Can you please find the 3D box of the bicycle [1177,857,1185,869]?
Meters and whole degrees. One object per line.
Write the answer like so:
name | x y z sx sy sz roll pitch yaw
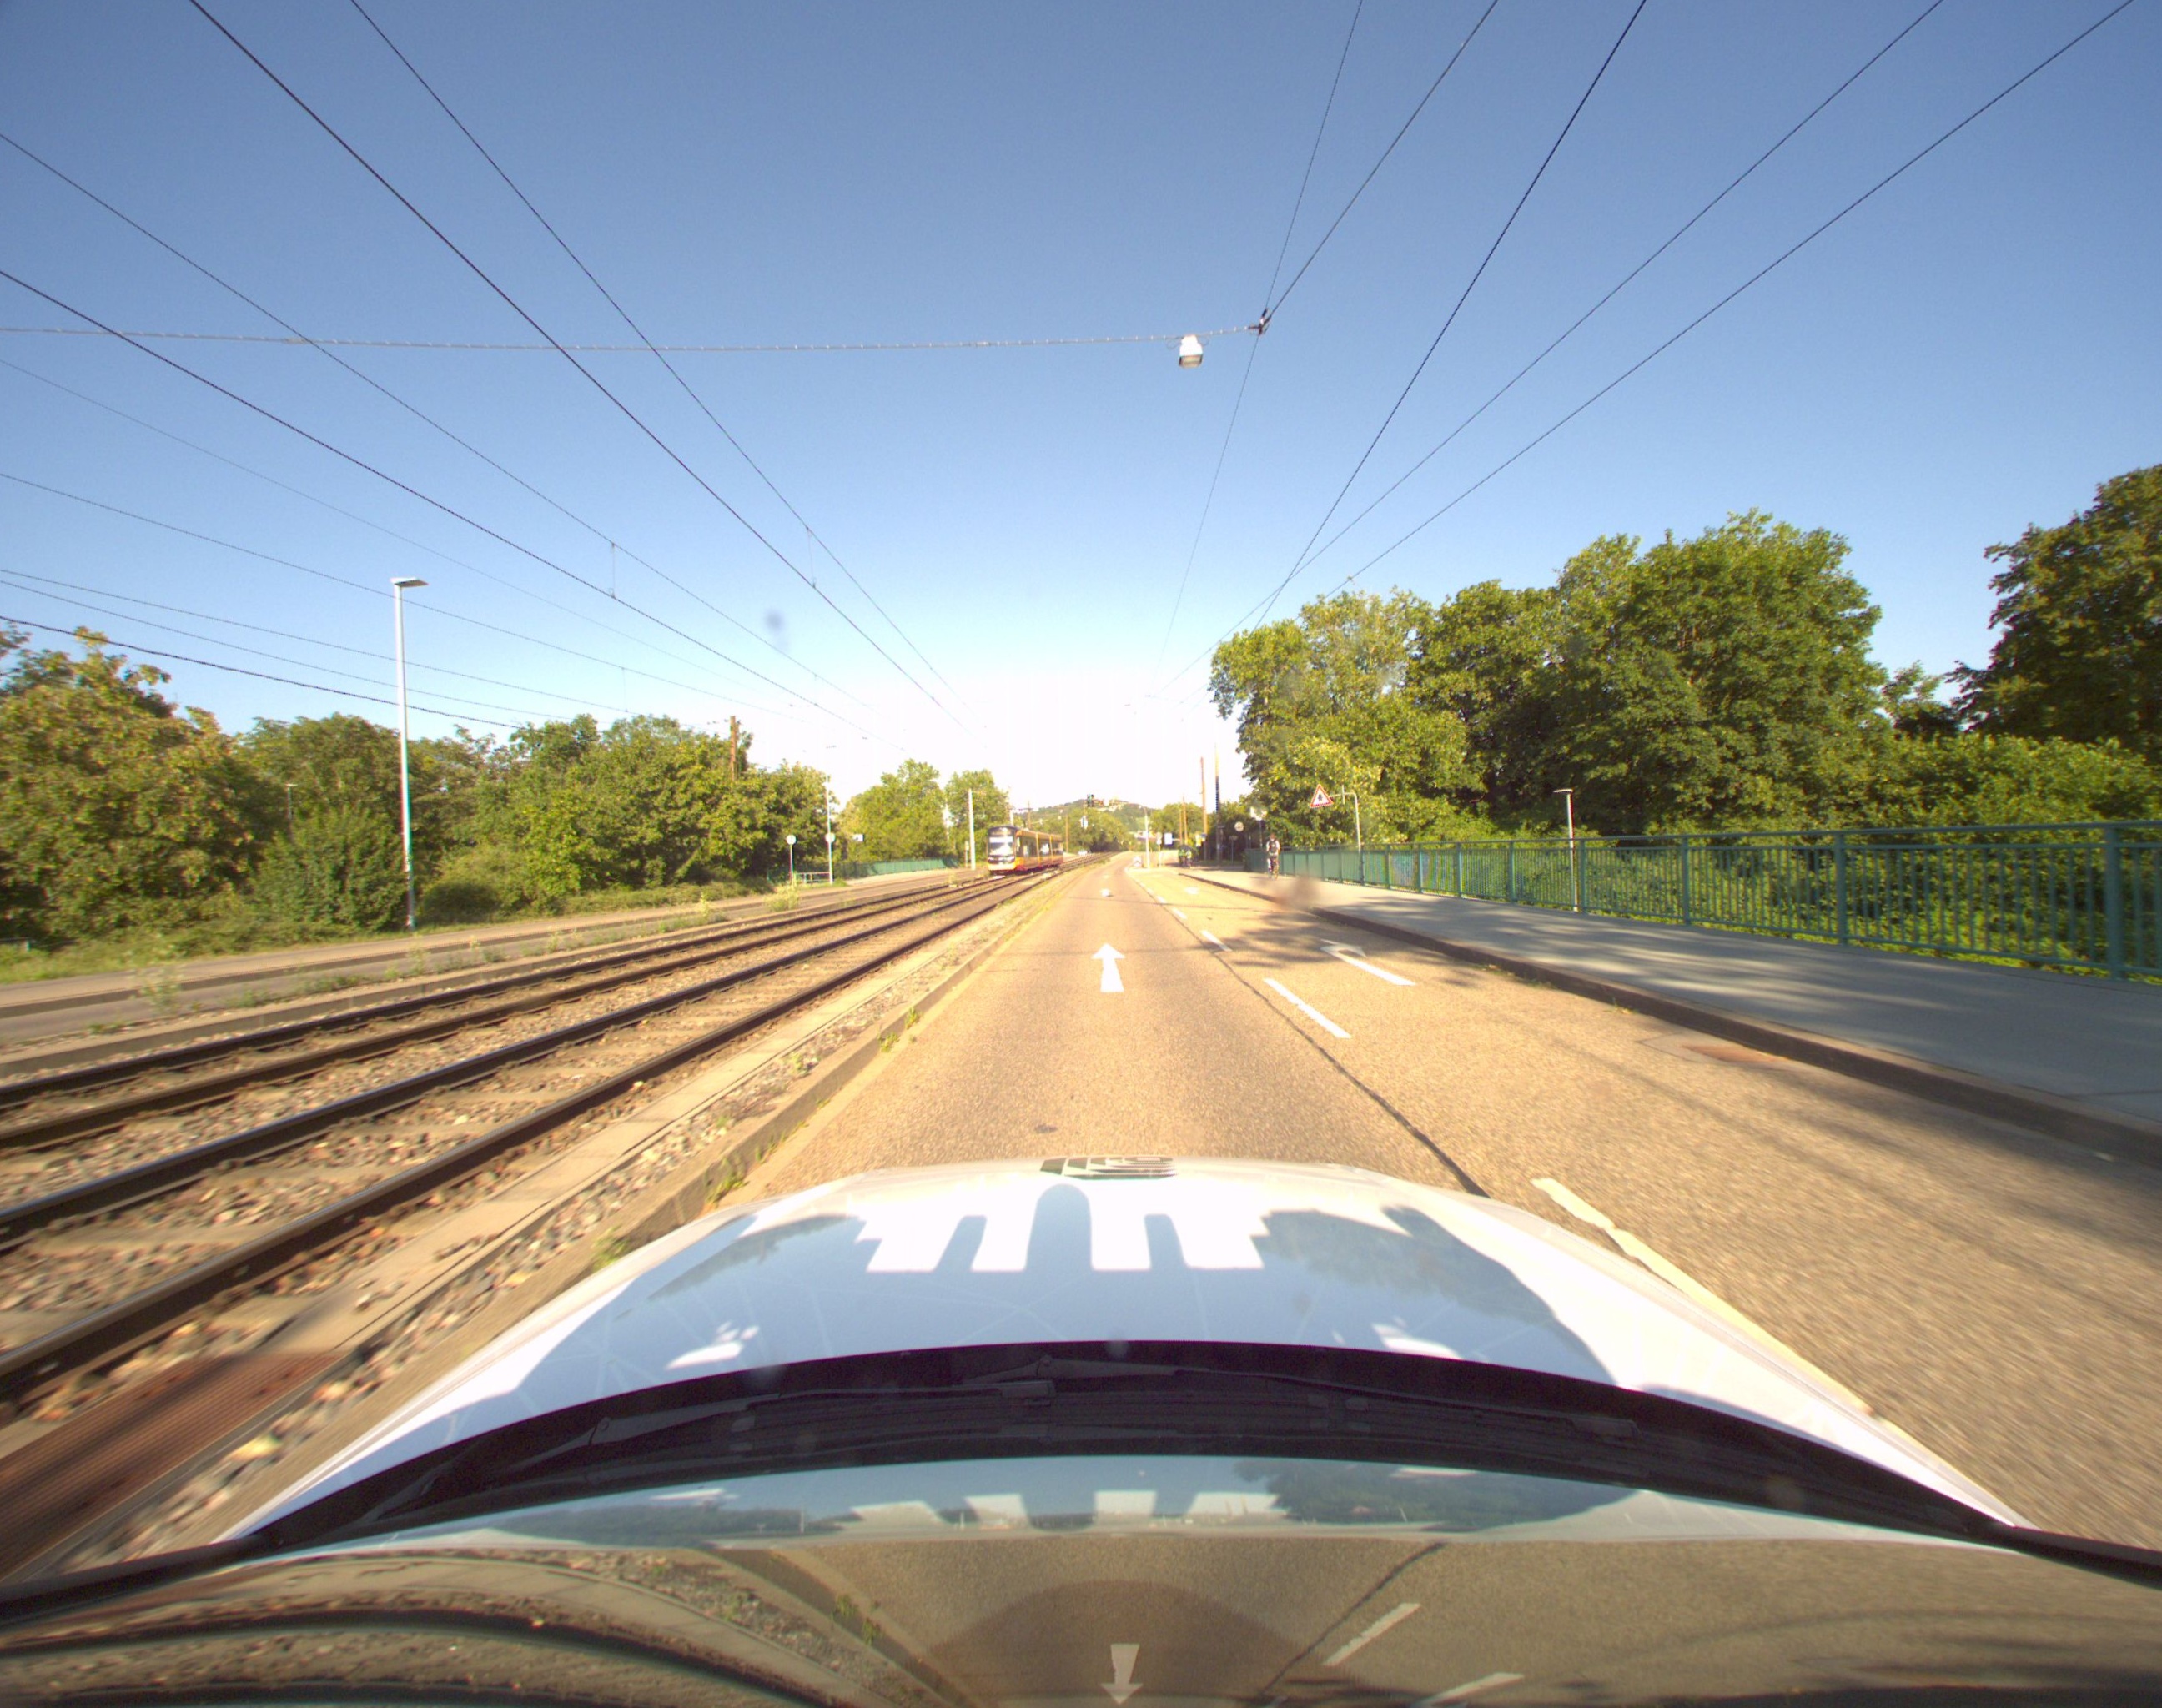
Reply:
bicycle | 9.288 0.814 75.501 0.537 1.042 1.976 -2 0 2

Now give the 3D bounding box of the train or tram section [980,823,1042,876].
train or tram section | -5.137 -0.309 61.846 2.631 3.567 10.848 -2 0 5

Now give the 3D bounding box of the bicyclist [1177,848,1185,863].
bicyclist | 9.273 0.124 75.541 0.602 1.379 0.976 -2 0 2

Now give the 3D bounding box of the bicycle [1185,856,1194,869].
bicycle | 9.016 0.733 67.744 0.513 1.042 1.976 -2 0 2

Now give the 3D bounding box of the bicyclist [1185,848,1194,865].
bicyclist | 9.007 0.240 67.680 0.602 1.379 0.976 -2 0 2

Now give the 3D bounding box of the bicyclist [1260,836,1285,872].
bicyclist | 8.161 0.003 34.720 0.821 1.520 0.975 -2 0 1

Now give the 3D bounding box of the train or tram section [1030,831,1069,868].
train or tram section | -3.094 -0.433 82.432 2.631 3.472 8.907 -2 0 5

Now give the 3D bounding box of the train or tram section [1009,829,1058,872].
train or tram section | -4.080 -0.336 72.621 2.631 3.476 10.848 -2 0 5

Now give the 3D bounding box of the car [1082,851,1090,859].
car | 1.355 0.349 210.864 1.781 2.013 4.002 -2 0 2

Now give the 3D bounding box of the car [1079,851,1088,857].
car | 0.669 0.014 198.996 1.943 1.486 4.002 -2 0 2

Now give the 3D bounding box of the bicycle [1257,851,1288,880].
bicycle | 8.184 0.466 34.937 0.725 1.176 2.696 -2 0 2

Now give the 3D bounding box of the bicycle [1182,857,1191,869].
bicycle | 9.362 0.778 72.237 0.537 1.042 1.976 -2 0 2

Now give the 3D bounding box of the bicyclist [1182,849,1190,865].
bicyclist | 9.337 0.262 72.257 0.602 1.379 0.976 -2 0 2
